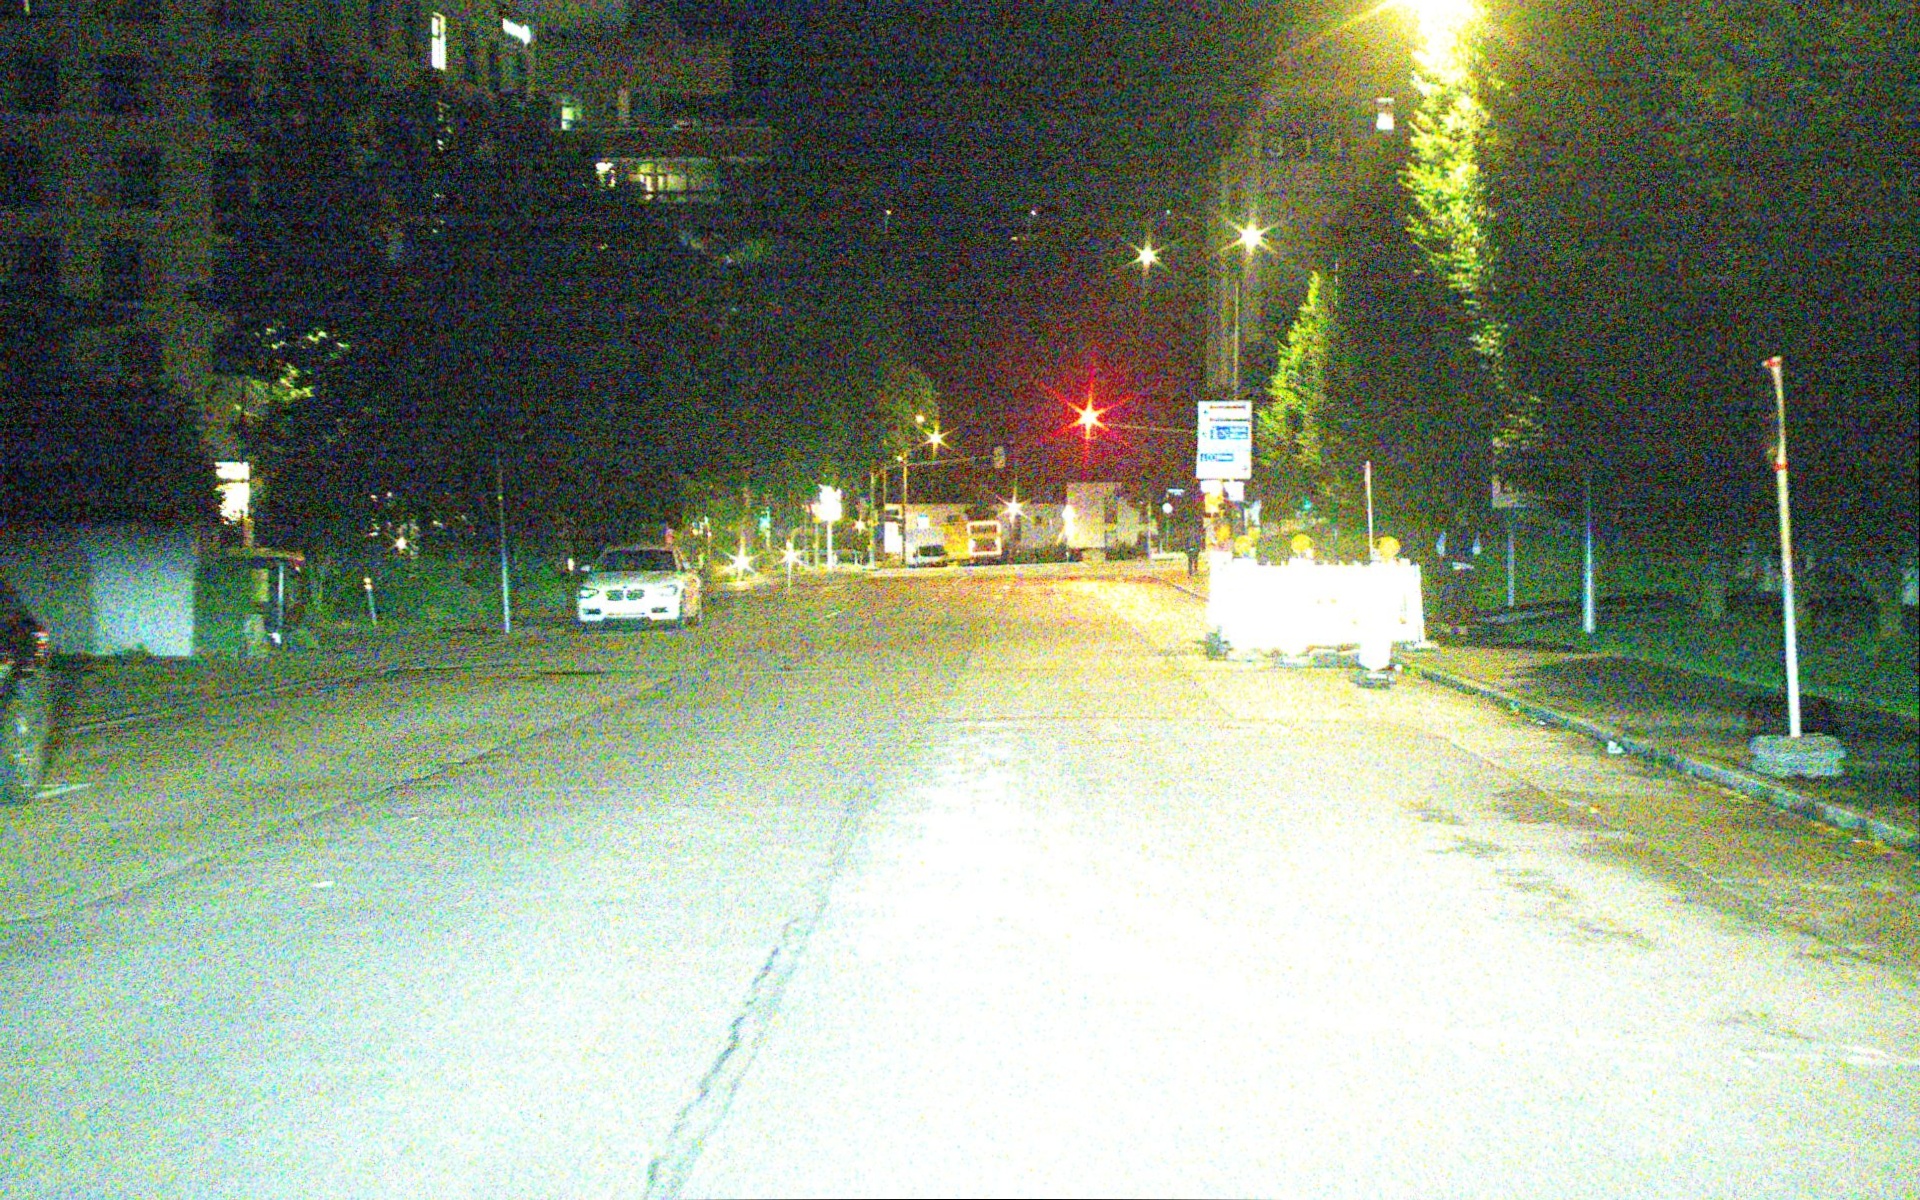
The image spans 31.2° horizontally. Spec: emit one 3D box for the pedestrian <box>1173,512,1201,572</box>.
[{"bbox_3d":[7.482,-1.909,113.191,0.737,1.975,0.626,-1,1,-15],"label":"pedestrian"}]

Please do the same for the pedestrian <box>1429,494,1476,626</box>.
[{"bbox_3d":[6.943,-0.567,48.471,0.570,1.846,0.820,0,1,2],"label":"pedestrian"}]

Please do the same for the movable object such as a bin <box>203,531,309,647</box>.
[{"bbox_3d":[-9.243,-0.153,45.175,1.164,1.490,1.066,-1,1,-1],"label":"movable object such as a bin"}]

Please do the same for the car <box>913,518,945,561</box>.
[{"bbox_3d":[-2.185,-4.227,239.531,1.993,2.963,4.001,-1,1,-3],"label":"car"}]

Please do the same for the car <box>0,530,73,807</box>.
[{"bbox_3d":[-6.203,0.399,18.031,1.755,1.521,4.322,-1,1,3],"label":"car"}]

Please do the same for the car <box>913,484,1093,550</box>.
[{"bbox_3d":[3.120,-6.075,251.818,12.380,4.693,4.811,-1,1,-12],"label":"car"}]

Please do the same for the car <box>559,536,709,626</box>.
[{"bbox_3d":[-5.414,-0.346,57.638,1.911,1.399,4.338,-1,1,2],"label":"car"}]

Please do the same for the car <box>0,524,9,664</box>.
[{"bbox_3d":[-12.742,-0.004,37.841,3.987,1.565,1.817,-1,1,2],"label":"car"}]
